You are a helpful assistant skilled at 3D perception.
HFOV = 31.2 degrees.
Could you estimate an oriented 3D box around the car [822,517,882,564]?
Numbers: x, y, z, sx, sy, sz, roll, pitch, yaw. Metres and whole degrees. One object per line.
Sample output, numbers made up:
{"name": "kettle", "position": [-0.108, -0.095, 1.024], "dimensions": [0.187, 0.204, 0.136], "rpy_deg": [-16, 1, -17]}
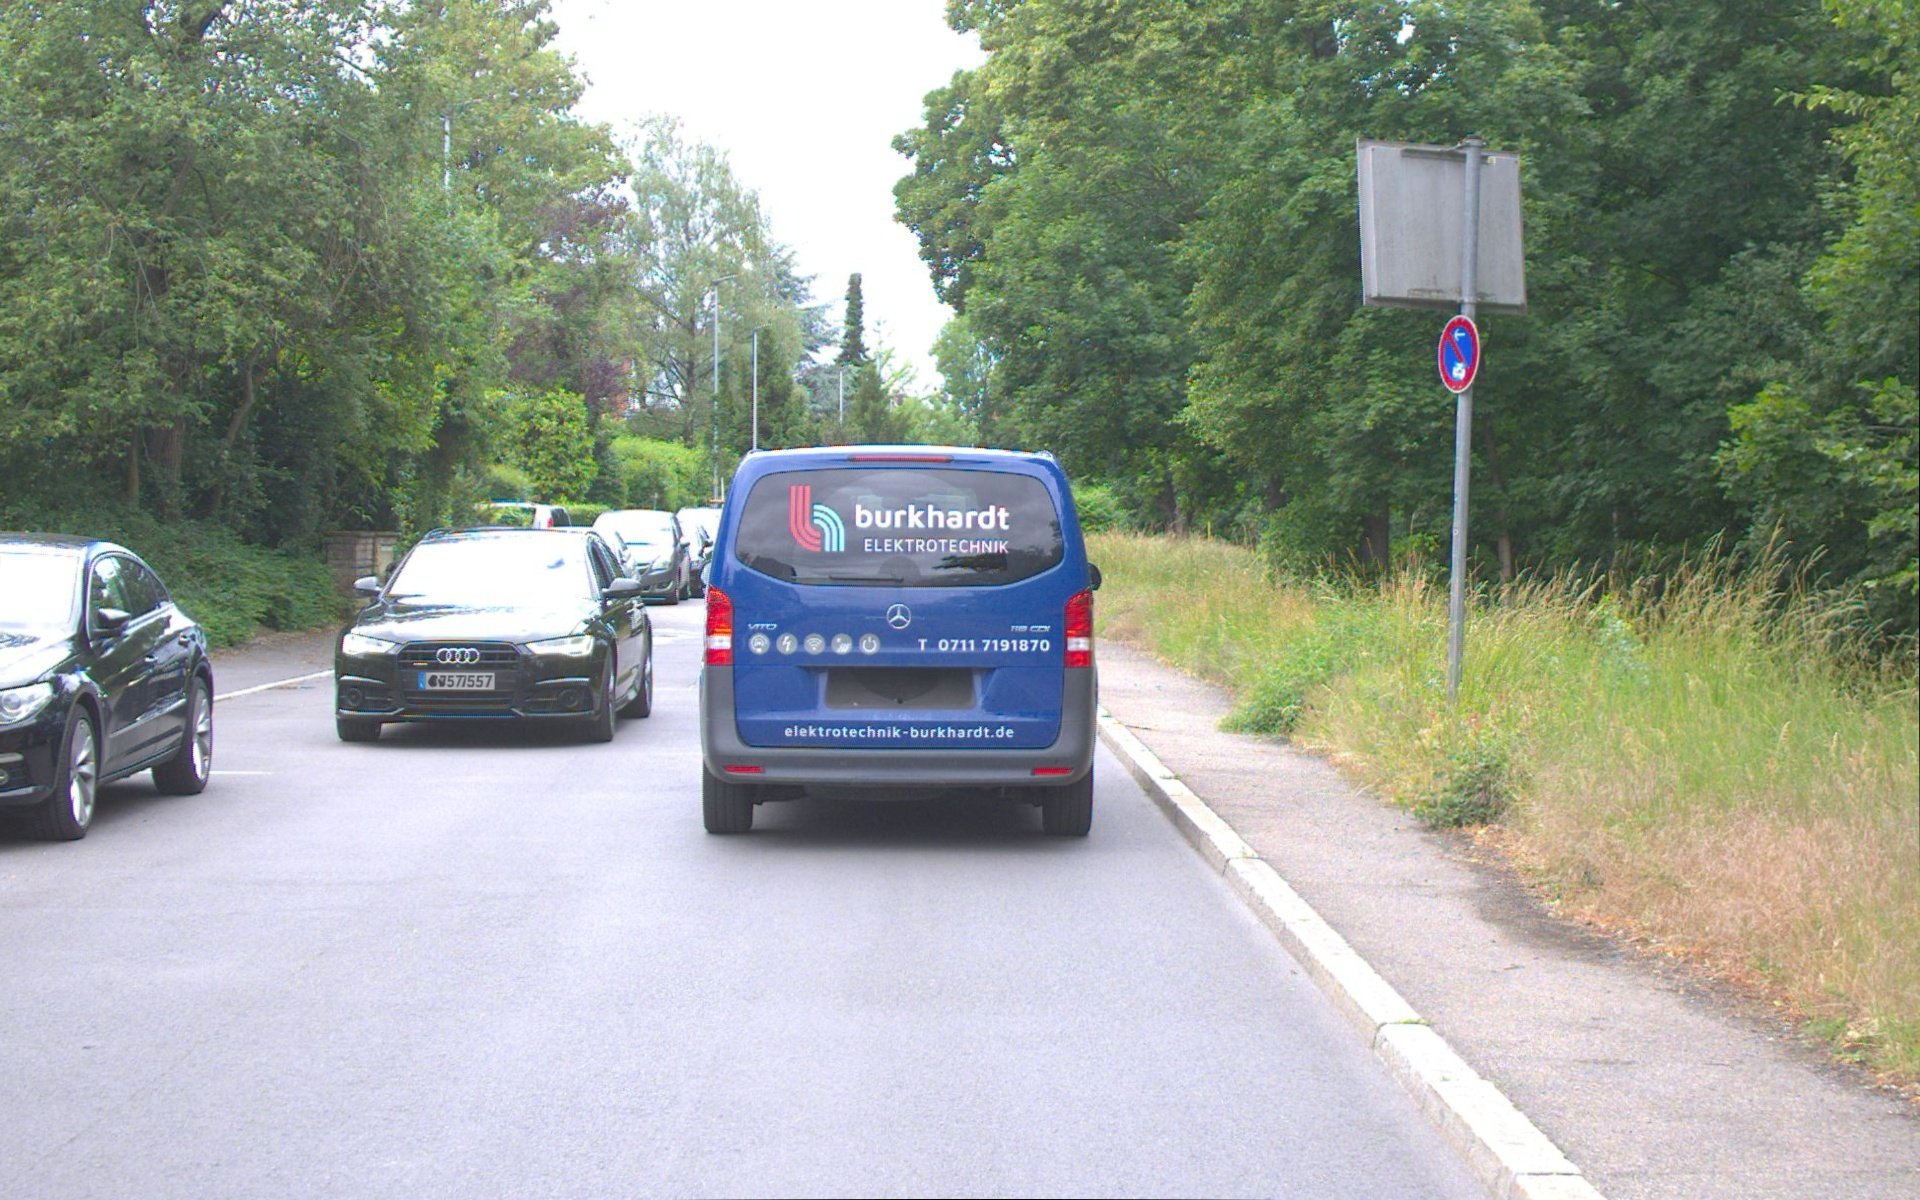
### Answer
{"name": "car", "position": [-3.999, -2.220, 127.731], "dimensions": [1.836, 1.625, 4.300], "rpy_deg": [2, 1, 3]}

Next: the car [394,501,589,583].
{"name": "car", "position": [-10.019, -1.245, 73.624], "dimensions": [3.694, 1.632, 1.827], "rpy_deg": [2, 1, 13]}

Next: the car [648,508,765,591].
{"name": "car", "position": [-5.602, -1.139, 76.491], "dimensions": [1.974, 1.731, 5.189], "rpy_deg": [2, 1, 2]}

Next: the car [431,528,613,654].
{"name": "car", "position": [-5.333, -0.151, 42.319], "dimensions": [1.659, 1.447, 4.382], "rpy_deg": [0, 2, 0]}

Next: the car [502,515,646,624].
{"name": "car", "position": [-5.375, -0.436, 48.242], "dimensions": [1.623, 1.445, 4.094], "rpy_deg": [-1, 1, -1]}

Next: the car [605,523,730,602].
{"name": "car", "position": [-5.547, -0.736, 65.771], "dimensions": [1.754, 1.408, 4.898], "rpy_deg": [2, 1, 2]}

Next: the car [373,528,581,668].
{"name": "car", "position": [-5.222, -0.063, 37.600], "dimensions": [1.623, 1.445, 3.969], "rpy_deg": [0, 1, 1]}

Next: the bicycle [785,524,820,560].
{"name": "bicycle", "position": [-5.713, -2.114, 124.877], "dimensions": [0.906, 1.247, 2.916], "rpy_deg": [3, 1, 3]}

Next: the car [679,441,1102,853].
{"name": "car", "position": [-0.409, 0.123, 17.454], "dimensions": [1.888, 1.837, 4.001], "rpy_deg": [0, 2, -3]}

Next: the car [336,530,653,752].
{"name": "car", "position": [-3.232, 0.222, 24.649], "dimensions": [1.780, 1.421, 4.490], "rpy_deg": [1, 1, -2]}

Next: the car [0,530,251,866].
{"name": "car", "position": [-4.938, 0.371, 17.382], "dimensions": [1.778, 1.427, 5.106], "rpy_deg": [1, 1, -2]}

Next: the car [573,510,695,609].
{"name": "car", "position": [-5.676, -0.744, 60.320], "dimensions": [1.731, 1.626, 4.569], "rpy_deg": [2, 1, -1]}
